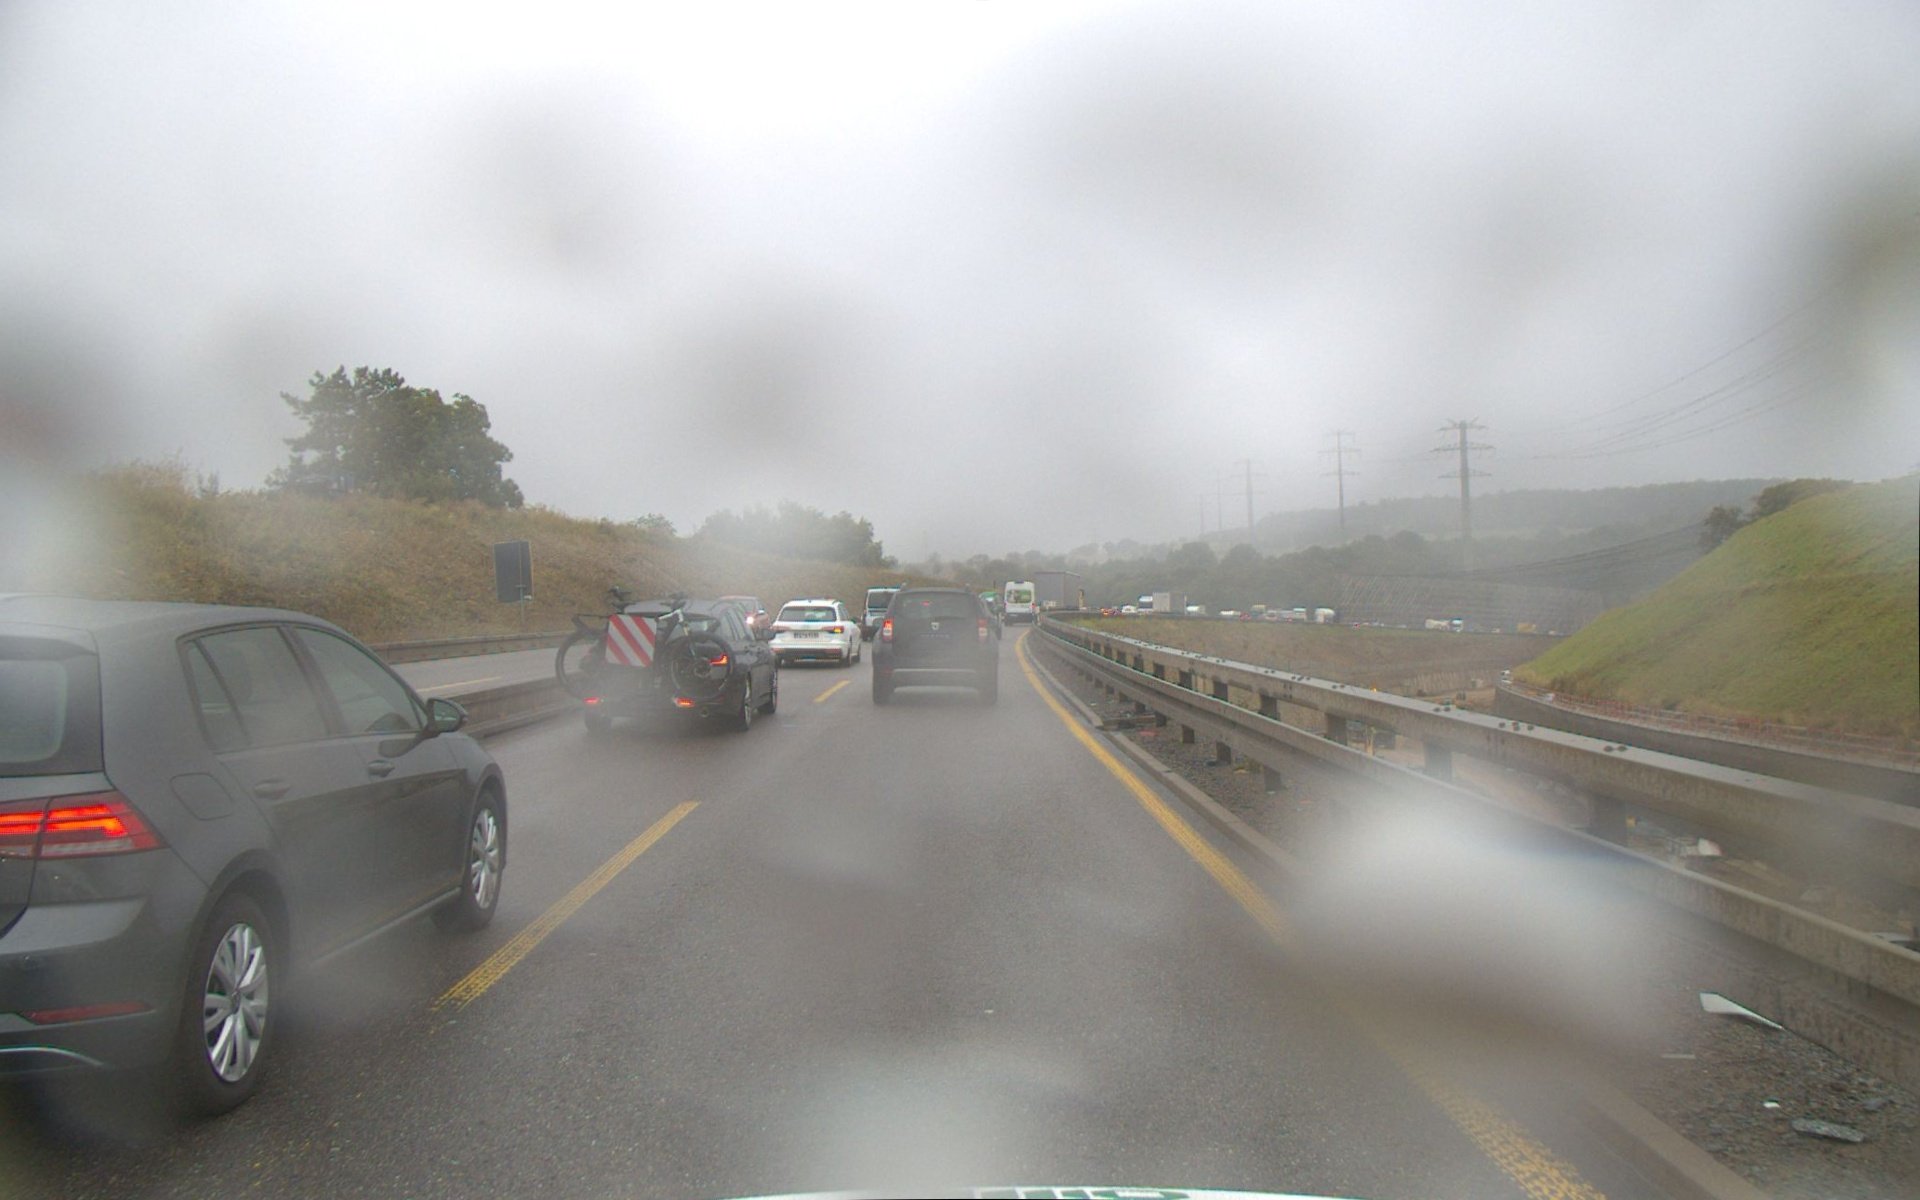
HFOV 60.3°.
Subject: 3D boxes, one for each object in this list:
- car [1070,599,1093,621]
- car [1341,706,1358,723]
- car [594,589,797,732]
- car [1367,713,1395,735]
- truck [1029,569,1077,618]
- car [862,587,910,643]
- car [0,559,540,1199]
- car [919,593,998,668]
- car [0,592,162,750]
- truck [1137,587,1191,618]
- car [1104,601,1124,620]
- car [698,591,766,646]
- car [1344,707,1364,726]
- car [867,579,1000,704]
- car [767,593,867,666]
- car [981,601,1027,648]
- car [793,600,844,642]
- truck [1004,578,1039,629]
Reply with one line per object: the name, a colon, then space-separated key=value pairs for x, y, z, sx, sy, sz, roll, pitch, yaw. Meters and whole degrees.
car: x=10.964 y=0.916 z=149.069 sx=1.737 sy=1.949 sz=4.003 roll=1 pitch=0 yaw=8
car: x=59.601 y=17.518 z=253.230 sx=1.954 sy=2.046 sz=4.001 roll=8 pitch=2 yaw=18
car: x=-2.972 y=0.650 z=19.326 sx=1.791 sy=1.502 sz=3.775 roll=0 pitch=0 yaw=-1
car: x=45.182 y=13.273 z=177.527 sx=2.315 sy=2.049 sz=4.002 roll=1 pitch=0 yaw=5
truck: x=7.690 y=-0.530 z=135.720 sx=3.132 sy=3.827 sz=8.516 roll=1 pitch=0 yaw=8
car: x=-2.646 y=0.529 z=59.718 sx=1.626 sy=1.913 sz=4.018 roll=1 pitch=0 yaw=-2
car: x=-2.791 y=0.699 z=5.769 sx=1.581 sy=1.532 sz=4.367 roll=-1 pitch=0 yaw=-1
car: x=-0.030 y=0.728 z=41.179 sx=1.829 sy=1.738 sz=4.000 roll=1 pitch=0 yaw=0
car: x=-9.895 y=0.662 z=16.387 sx=1.732 sy=1.469 sz=4.670 roll=1 pitch=0 yaw=-1
truck: x=29.199 y=0.368 z=235.921 sx=4.618 sy=4.222 sz=15.689 roll=1 pitch=0 yaw=18
car: x=15.862 y=1.060 z=170.085 sx=1.737 sy=1.949 sz=4.003 roll=1 pitch=0 yaw=8
car: x=-6.819 y=0.547 z=49.785 sx=1.692 sy=1.605 sz=3.719 roll=0 pitch=0 yaw=-3
car: x=46.354 y=13.698 z=194.621 sx=1.951 sy=1.847 sz=4.003 roll=1 pitch=-1 yaw=7
car: x=-0.337 y=0.567 z=24.017 sx=1.767 sy=1.675 sz=3.776 roll=0 pitch=0 yaw=1
car: x=-3.112 y=0.612 z=36.748 sx=1.829 sy=1.486 sz=4.548 roll=1 pitch=0 yaw=-1
car: x=1.639 y=0.886 z=62.116 sx=1.499 sy=1.669 sz=4.012 roll=1 pitch=0 yaw=-1
car: x=-5.891 y=0.861 z=69.366 sx=2.005 sy=1.661 sz=4.986 roll=0 pitch=0 yaw=-3
truck: x=3.975 y=0.236 z=108.022 sx=2.105 sy=3.221 sz=6.460 roll=1 pitch=0 yaw=1
